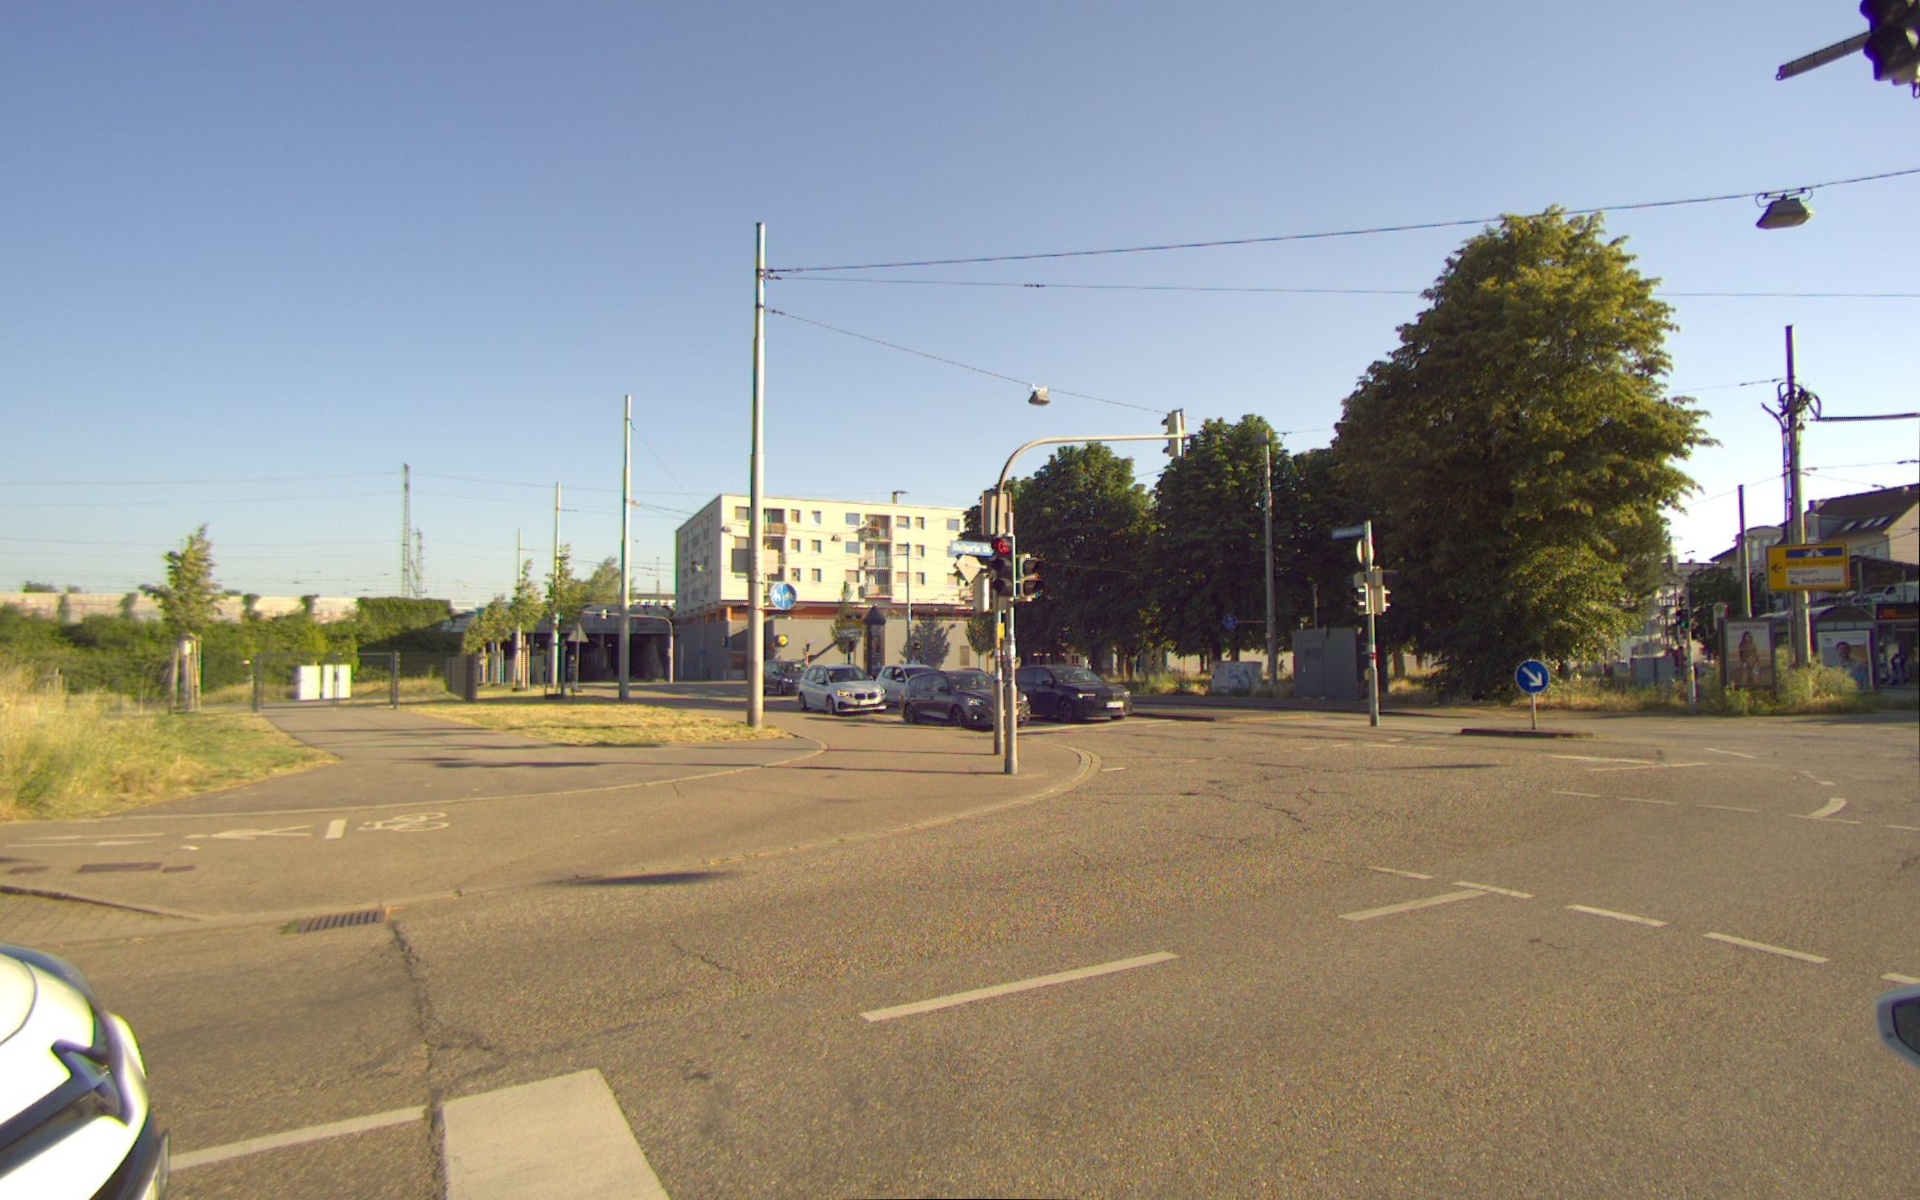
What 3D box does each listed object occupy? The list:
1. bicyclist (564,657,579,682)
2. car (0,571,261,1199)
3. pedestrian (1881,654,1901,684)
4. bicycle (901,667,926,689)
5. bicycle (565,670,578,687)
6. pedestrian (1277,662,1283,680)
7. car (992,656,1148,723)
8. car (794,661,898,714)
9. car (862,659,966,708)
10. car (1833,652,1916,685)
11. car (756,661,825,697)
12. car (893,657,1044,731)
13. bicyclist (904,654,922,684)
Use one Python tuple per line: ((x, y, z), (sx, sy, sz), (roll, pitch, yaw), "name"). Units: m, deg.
((-25.370, 4.535, 65.619), (0.865, 1.646, 0.968), (1, -3, -20), "bicyclist")
((-3.065, 0.712, 1.003), (3.733, 1.488, 1.692), (2, -4, -32), "car")
((47.911, 3.554, 51.695), (0.558, 1.520, 0.677), (-2, -4, 32), "pedestrian")
((-2.544, 4.258, 54.836), (0.690, 1.157, 2.190), (1, -4, -23), "bicycle")
((-25.357, 5.130, 65.560), (0.743, 1.107, 1.941), (2, -5, -20), "bicycle")
((27.185, 6.010, 85.285), (0.398, 1.527, 0.372), (-2, -4, 33), "pedestrian")
((2.767, 2.280, 26.403), (2.027, 1.587, 4.423), (1, -4, -26), "car")
((-3.793, 2.813, 32.757), (1.975, 1.587, 4.246), (1, -4, -27), "car")
((-1.671, 2.881, 35.105), (1.975, 1.587, 4.426), (1, -4, -27), "car")
((59.349, 4.445, 65.339), (2.017, 1.987, 5.153), (-4, -4, 19), "car")
((-8.027, 3.668, 47.240), (1.975, 1.587, 4.426), (1, -4, -27), "car")
((0.114, 2.273, 25.065), (1.975, 1.587, 4.246), (-1, -3, -28), "car")
((-2.558, 3.756, 54.900), (0.703, 1.650, 1.036), (1, -3, -22), "bicyclist")
